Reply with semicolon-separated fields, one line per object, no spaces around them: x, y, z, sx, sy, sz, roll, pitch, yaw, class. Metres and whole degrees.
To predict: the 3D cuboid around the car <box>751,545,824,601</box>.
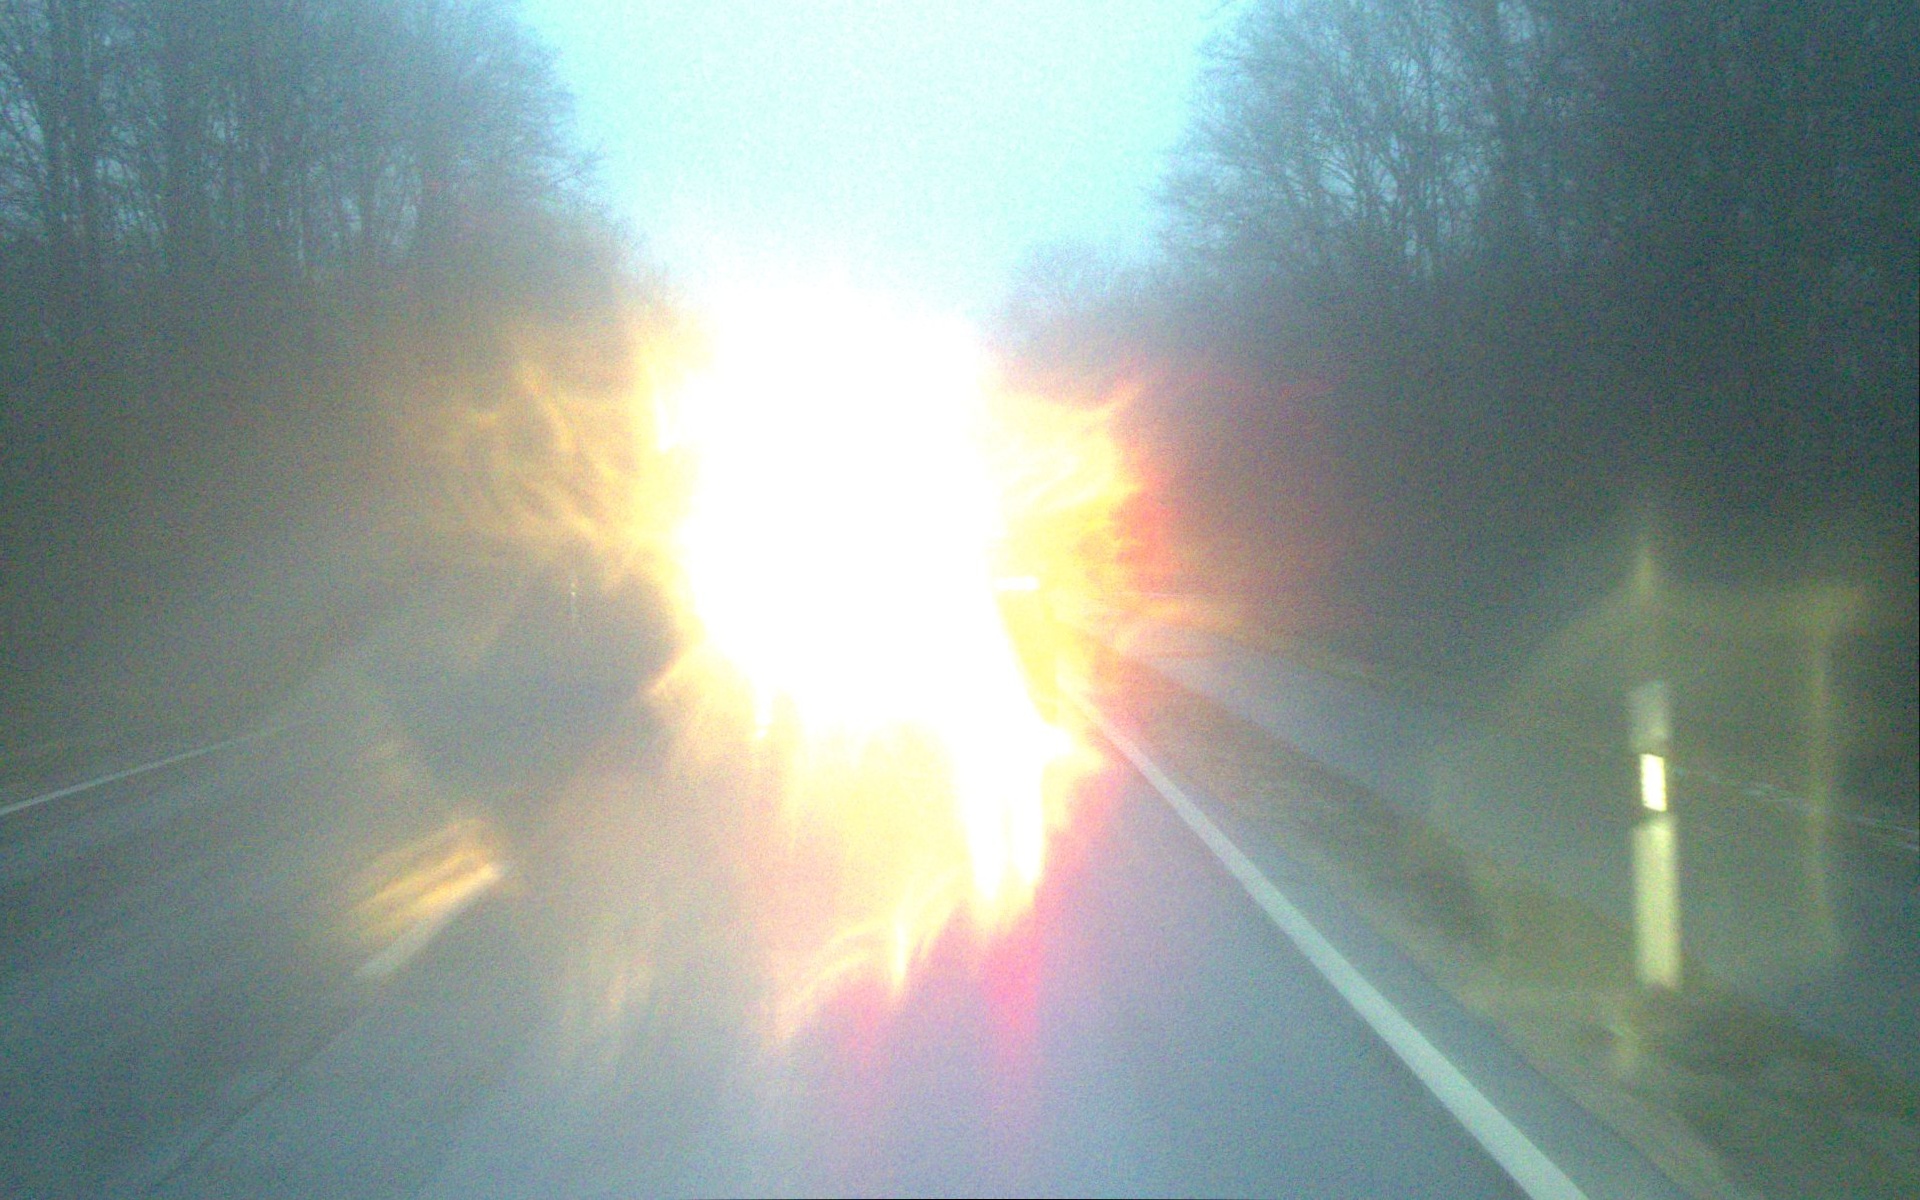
-4.773;-0.758;95.612;1.799;1.456;4.177;-2;1;0;car
